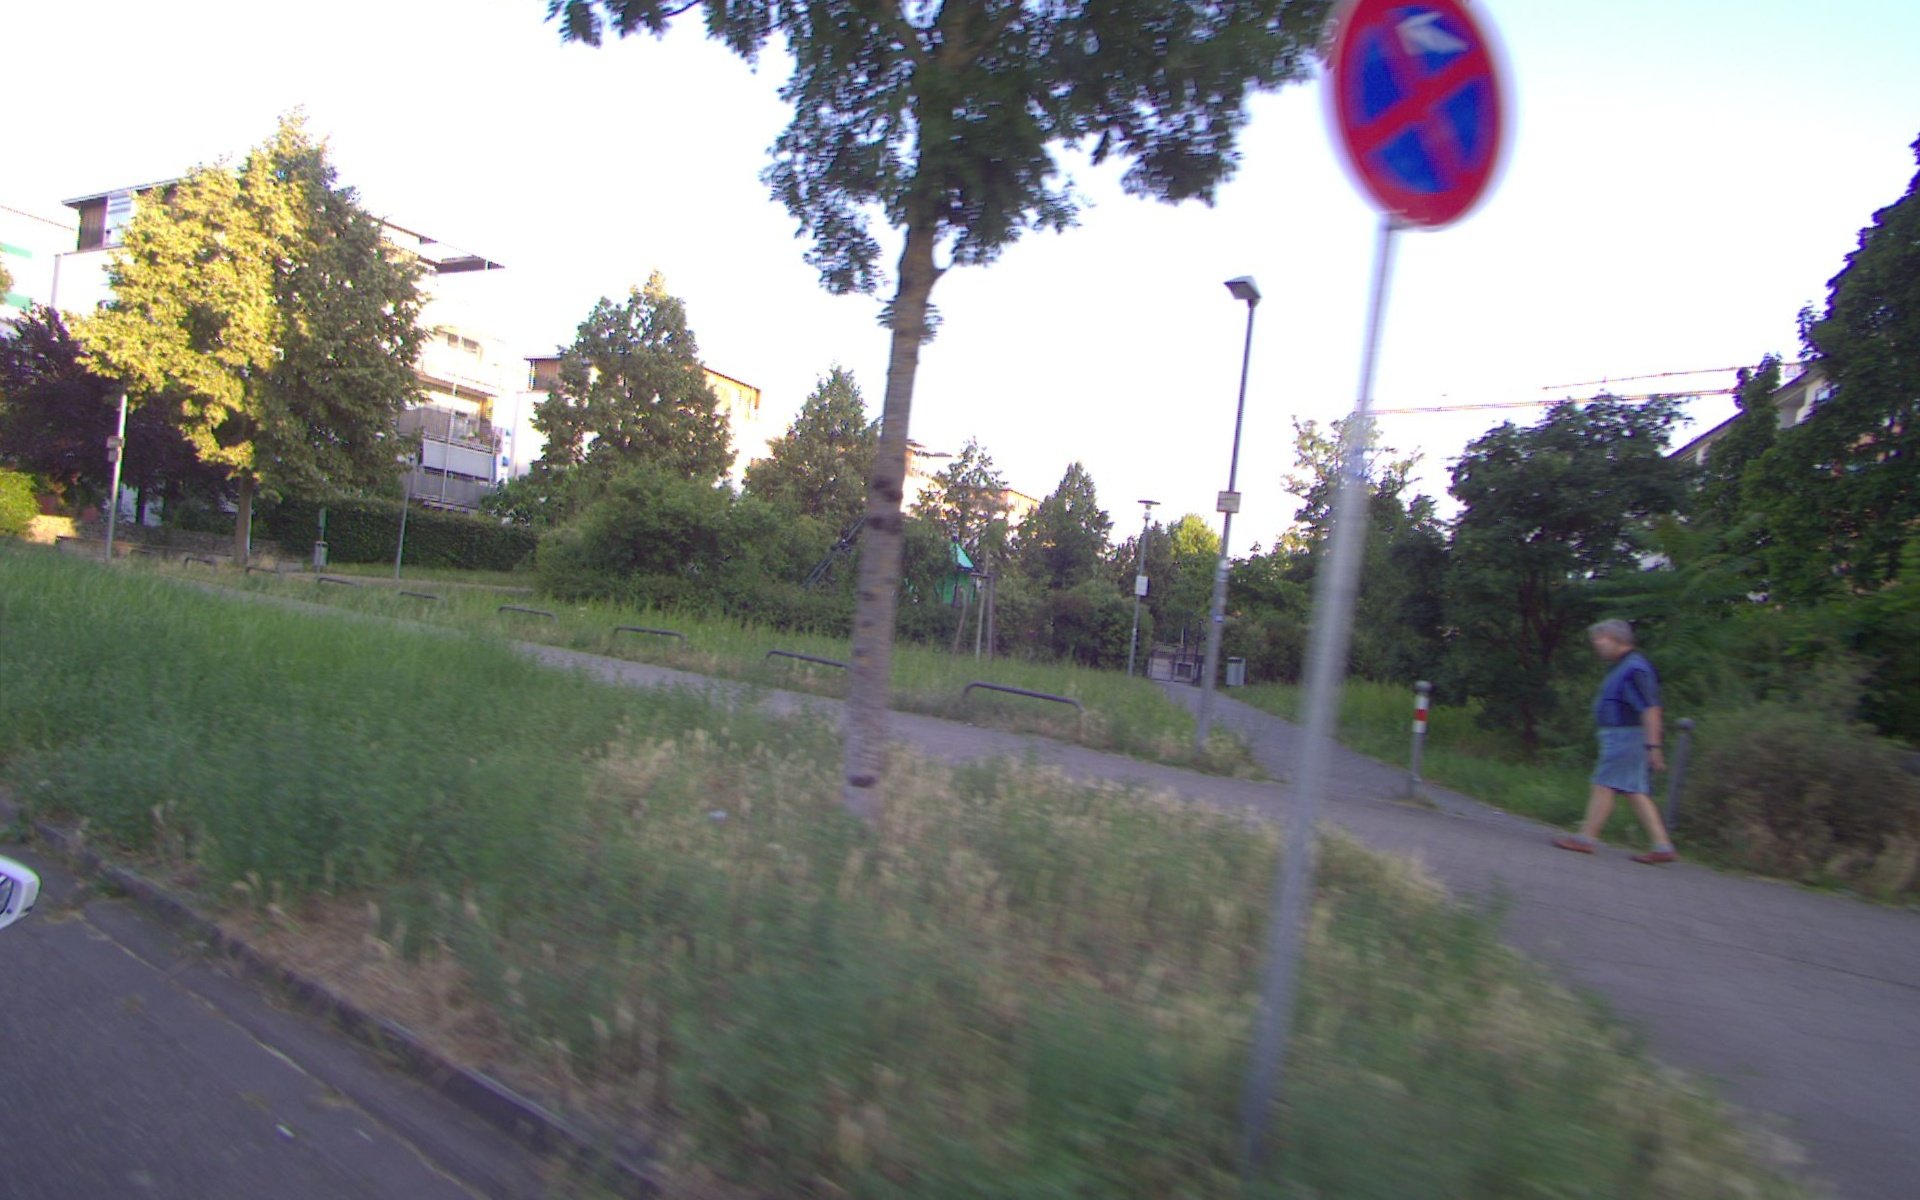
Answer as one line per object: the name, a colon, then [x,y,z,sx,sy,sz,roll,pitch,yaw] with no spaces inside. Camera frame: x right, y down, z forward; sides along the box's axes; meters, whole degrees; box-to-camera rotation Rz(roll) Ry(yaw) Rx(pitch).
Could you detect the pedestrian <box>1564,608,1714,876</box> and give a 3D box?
pedestrian: [4.886,0.992,7.289,0.688,1.765,0.669,7,1,31]
